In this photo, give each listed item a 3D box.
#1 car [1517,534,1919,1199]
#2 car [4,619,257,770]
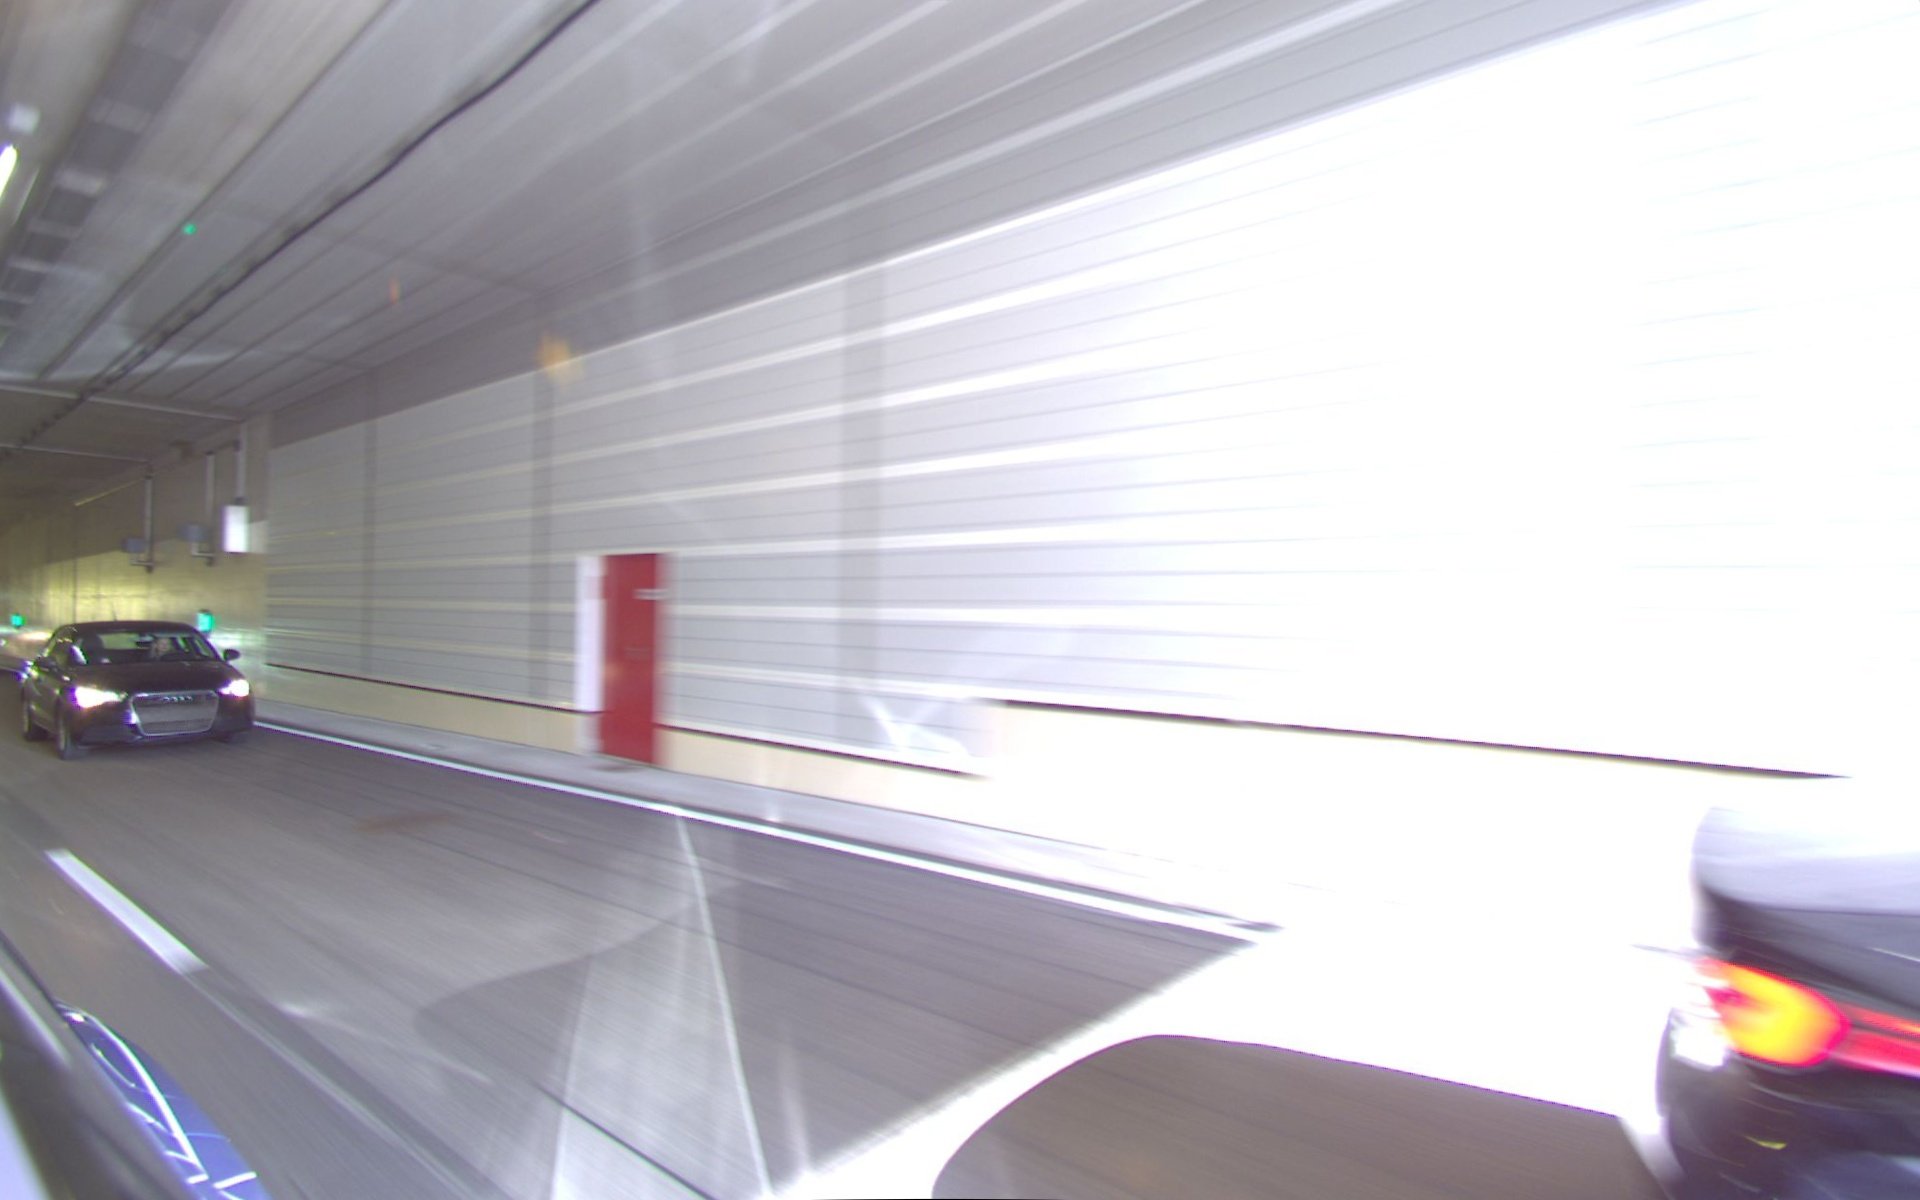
[{"bbox_3d":[3.244,0.620,0.435,5.000,1.450,1.790,-1,0,42],"label":"car"},{"bbox_3d":[-9.740,0.965,11.782,3.887,1.429,1.678,-1,-1,42],"label":"car"}]
